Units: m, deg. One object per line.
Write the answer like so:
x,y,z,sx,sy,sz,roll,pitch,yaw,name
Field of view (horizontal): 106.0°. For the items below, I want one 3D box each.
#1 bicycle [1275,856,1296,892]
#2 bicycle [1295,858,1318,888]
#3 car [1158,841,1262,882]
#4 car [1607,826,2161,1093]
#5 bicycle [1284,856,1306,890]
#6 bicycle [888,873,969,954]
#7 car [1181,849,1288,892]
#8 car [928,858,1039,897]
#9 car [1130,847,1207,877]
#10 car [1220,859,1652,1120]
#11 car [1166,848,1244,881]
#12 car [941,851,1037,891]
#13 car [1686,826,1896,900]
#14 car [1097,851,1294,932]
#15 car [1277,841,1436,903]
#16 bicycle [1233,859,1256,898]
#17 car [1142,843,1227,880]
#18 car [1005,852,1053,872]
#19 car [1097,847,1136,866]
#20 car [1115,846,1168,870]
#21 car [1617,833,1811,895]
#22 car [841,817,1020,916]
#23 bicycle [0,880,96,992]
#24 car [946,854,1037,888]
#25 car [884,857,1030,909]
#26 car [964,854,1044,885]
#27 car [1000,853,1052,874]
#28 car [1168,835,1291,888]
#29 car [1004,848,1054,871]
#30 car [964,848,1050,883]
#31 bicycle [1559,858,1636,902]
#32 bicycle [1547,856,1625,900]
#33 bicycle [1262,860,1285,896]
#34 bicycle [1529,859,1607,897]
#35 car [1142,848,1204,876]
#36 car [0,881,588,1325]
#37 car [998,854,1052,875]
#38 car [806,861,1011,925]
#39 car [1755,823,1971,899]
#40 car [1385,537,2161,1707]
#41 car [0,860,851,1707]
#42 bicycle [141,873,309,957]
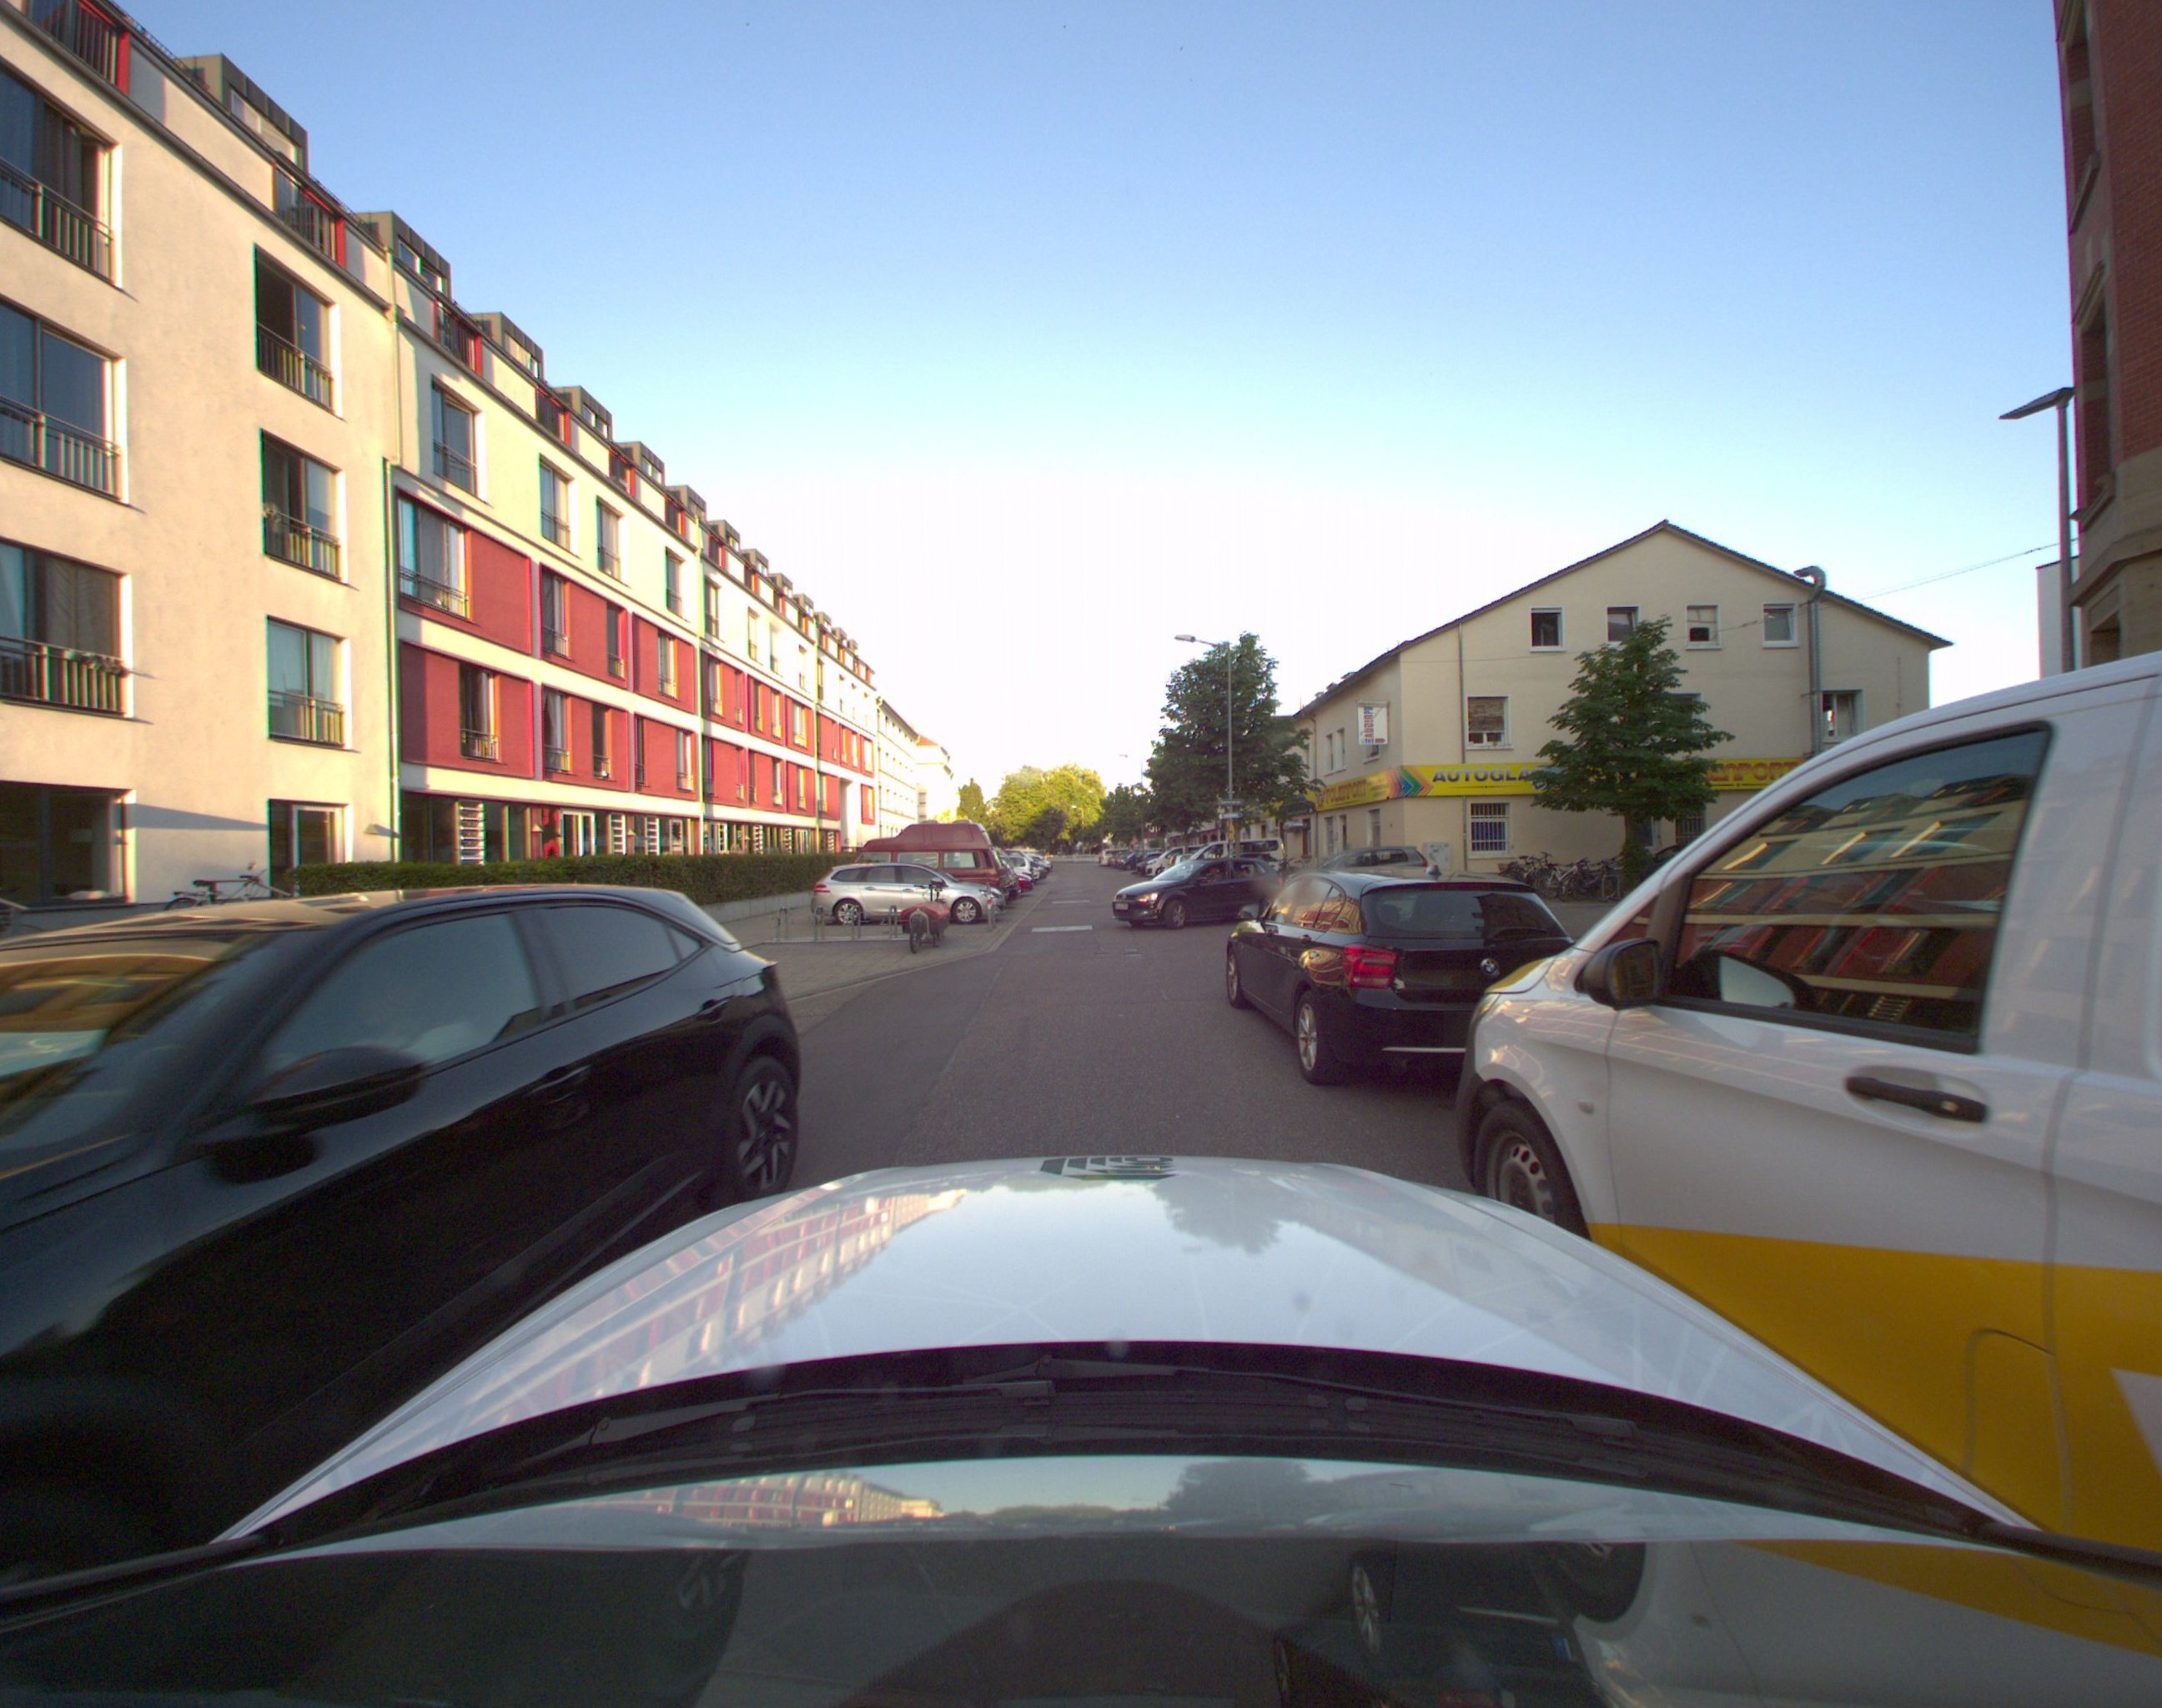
7.226,0.684,28.793,0.352,1.200,1.481,-3,0,1,bicycle
7.990,0.662,28.922,0.386,1.017,1.481,-3,0,1,bicycle
6.469,0.377,41.251,4.927,1.742,2.049,-3,0,1,car
6.680,0.561,6.718,1.721,1.424,4.421,-3,0,-1,car
7.586,0.662,28.876,0.352,1.143,1.481,-3,0,1,bicycle
-2.640,0.992,14.461,0.804,1.221,2.866,0,0,2,bicycle
6.180,0.641,33.118,3.909,1.451,1.767,-3,0,-3,car
-3.832,0.915,32.509,4.195,1.490,1.850,0,0,0,car
5.966,0.544,56.002,4.931,1.689,2.075,-3,0,-2,car
2.355,0.769,6.690,1.716,1.424,4.252,0,0,0,car
6.645,0.568,43.883,3.898,1.526,1.939,-3,0,1,car
-4.218,0.780,37.928,4.243,1.836,2.000,0,0,0,car
19.646,0.186,22.856,1.867,1.831,4.576,-2,1,-1,car
2.470,0.733,17.467,3.951,1.455,1.642,-2,0,-28,car
7.952,0.489,23.767,4.036,1.514,1.757,-3,2,1,car
5.810,0.845,28.988,0.384,1.304,2.017,-3,0,1,bicycle
6.440,0.452,51.141,4.931,1.958,2.048,-3,0,-2,car
-4.643,0.717,73.175,4.243,1.749,2.000,0,0,0,car
3.891,0.271,89.079,3.961,1.911,2.046,-3,0,-5,car
5.419,0.364,73.630,4.471,1.911,1.685,-3,0,-5,car
17.418,0.265,22.755,1.736,1.509,4.569,-2,0,-2,car
-4.020,0.335,22.334,4.495,2.584,2.001,0,0,1,car
-12.279,0.873,8.953,1.909,1.141,0.812,0,0,0,bicycle
-4.388,0.821,40.400,4.243,1.660,2.000,0,0,0,car
-3.696,0.856,24.902,4.198,1.538,1.790,0,0,-2,car
-4.185,0.837,44.756,4.243,1.652,1.888,0,0,0,car
-4.611,0.781,68.403,4.243,1.714,2.000,0,0,0,car
6.454,0.313,35.907,4.973,1.983,2.220,-3,0,0,car
-4.781,0.537,75.812,4.519,2.134,2.000,0,0,0,car
-4.249,0.648,47.311,4.835,2.021,1.906,0,0,0,car
13.266,0.649,20.922,1.848,1.075,0.427,-1,2,-8,bicycle
13.251,0.617,21.368,1.917,1.128,0.427,-1,0,-8,bicycle
6.804,0.826,28.802,0.443,1.200,1.481,-3,0,1,bicycle
13.158,0.640,22.008,1.843,1.010,0.428,0,2,1,bicycle
6.853,0.593,60.918,4.305,1.804,1.809,-3,0,-2,car
-4.937,1.002,4.863,1.647,1.530,4.013,-1,0,-3,car
-4.454,0.829,65.662,4.244,1.622,1.999,0,0,-1,car
-4.057,0.900,19.754,4.605,1.460,1.878,0,0,-4,car
21.945,0.242,23.146,1.867,1.902,4.330,-2,-2,-1,car
2.371,0.513,1.252,1.887,1.884,5.081,-1,0,0,car
-2.345,0.836,2.421,1.770,1.517,4.006,-3,0,6,car
-12.137,0.846,11.577,1.768,1.148,0.611,0,0,2,bicycle
